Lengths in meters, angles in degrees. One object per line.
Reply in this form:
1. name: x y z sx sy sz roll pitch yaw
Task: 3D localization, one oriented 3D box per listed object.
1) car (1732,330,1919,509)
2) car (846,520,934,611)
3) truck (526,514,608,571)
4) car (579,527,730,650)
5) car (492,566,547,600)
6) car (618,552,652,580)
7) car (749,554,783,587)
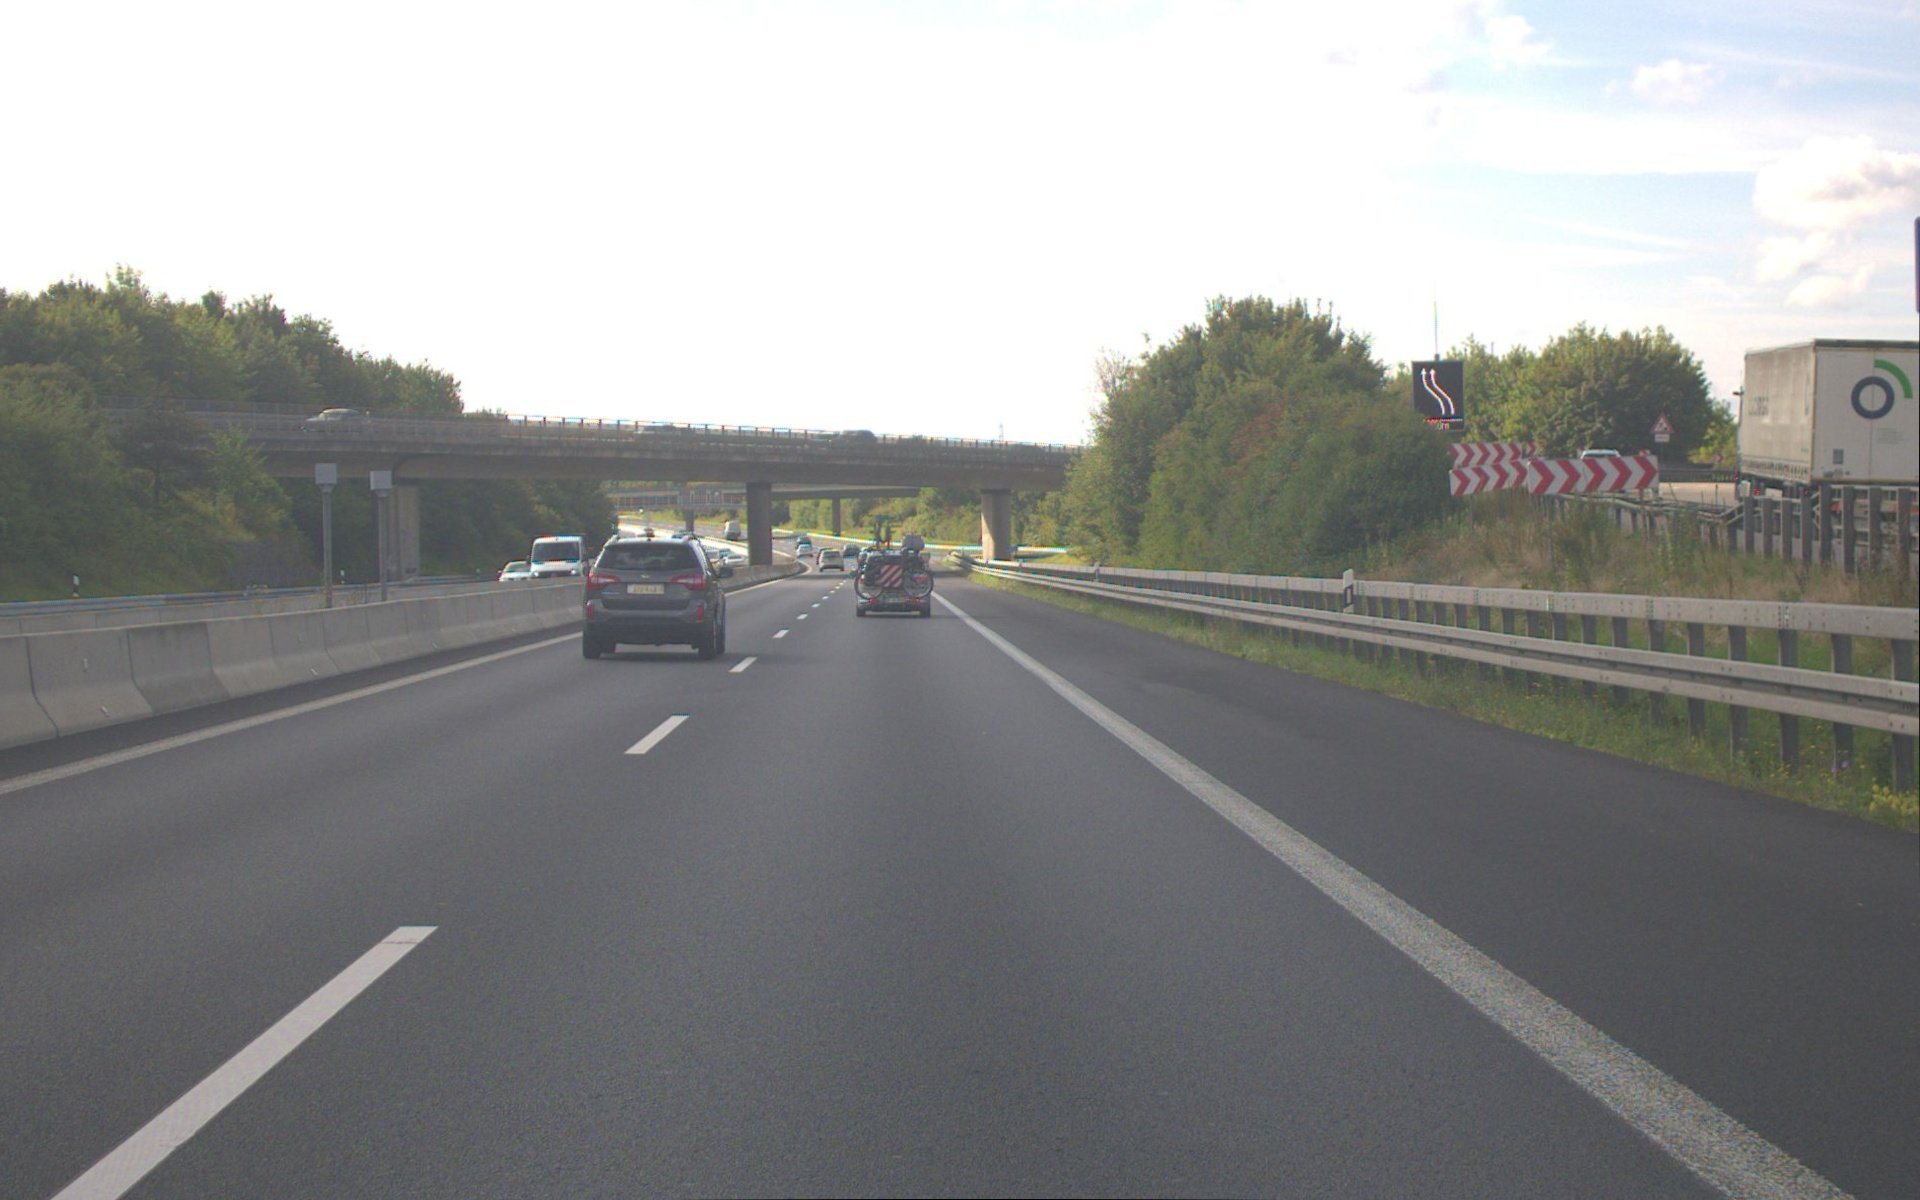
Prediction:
1. car: 19.856 -3.977 77.500 3.577 3.664 7.548 -2 1 4
2. car: -1.678 -0.834 82.312 1.993 2.073 4.000 -2 1 -1
3. truck: -14.849 -2.174 130.351 2.376 2.007 7.437 -2 1 -1
4. car: -4.307 -0.185 48.894 1.750 1.624 3.609 -2 1 0
5. car: -20.269 -0.800 158.283 1.993 1.431 4.725 -2 1 -2
6. car: -22.869 -2.425 241.971 1.993 1.890 4.823 -2 1 -2
7. car: -12.491 -1.900 221.658 1.993 2.007 4.000 -2 1 -1
